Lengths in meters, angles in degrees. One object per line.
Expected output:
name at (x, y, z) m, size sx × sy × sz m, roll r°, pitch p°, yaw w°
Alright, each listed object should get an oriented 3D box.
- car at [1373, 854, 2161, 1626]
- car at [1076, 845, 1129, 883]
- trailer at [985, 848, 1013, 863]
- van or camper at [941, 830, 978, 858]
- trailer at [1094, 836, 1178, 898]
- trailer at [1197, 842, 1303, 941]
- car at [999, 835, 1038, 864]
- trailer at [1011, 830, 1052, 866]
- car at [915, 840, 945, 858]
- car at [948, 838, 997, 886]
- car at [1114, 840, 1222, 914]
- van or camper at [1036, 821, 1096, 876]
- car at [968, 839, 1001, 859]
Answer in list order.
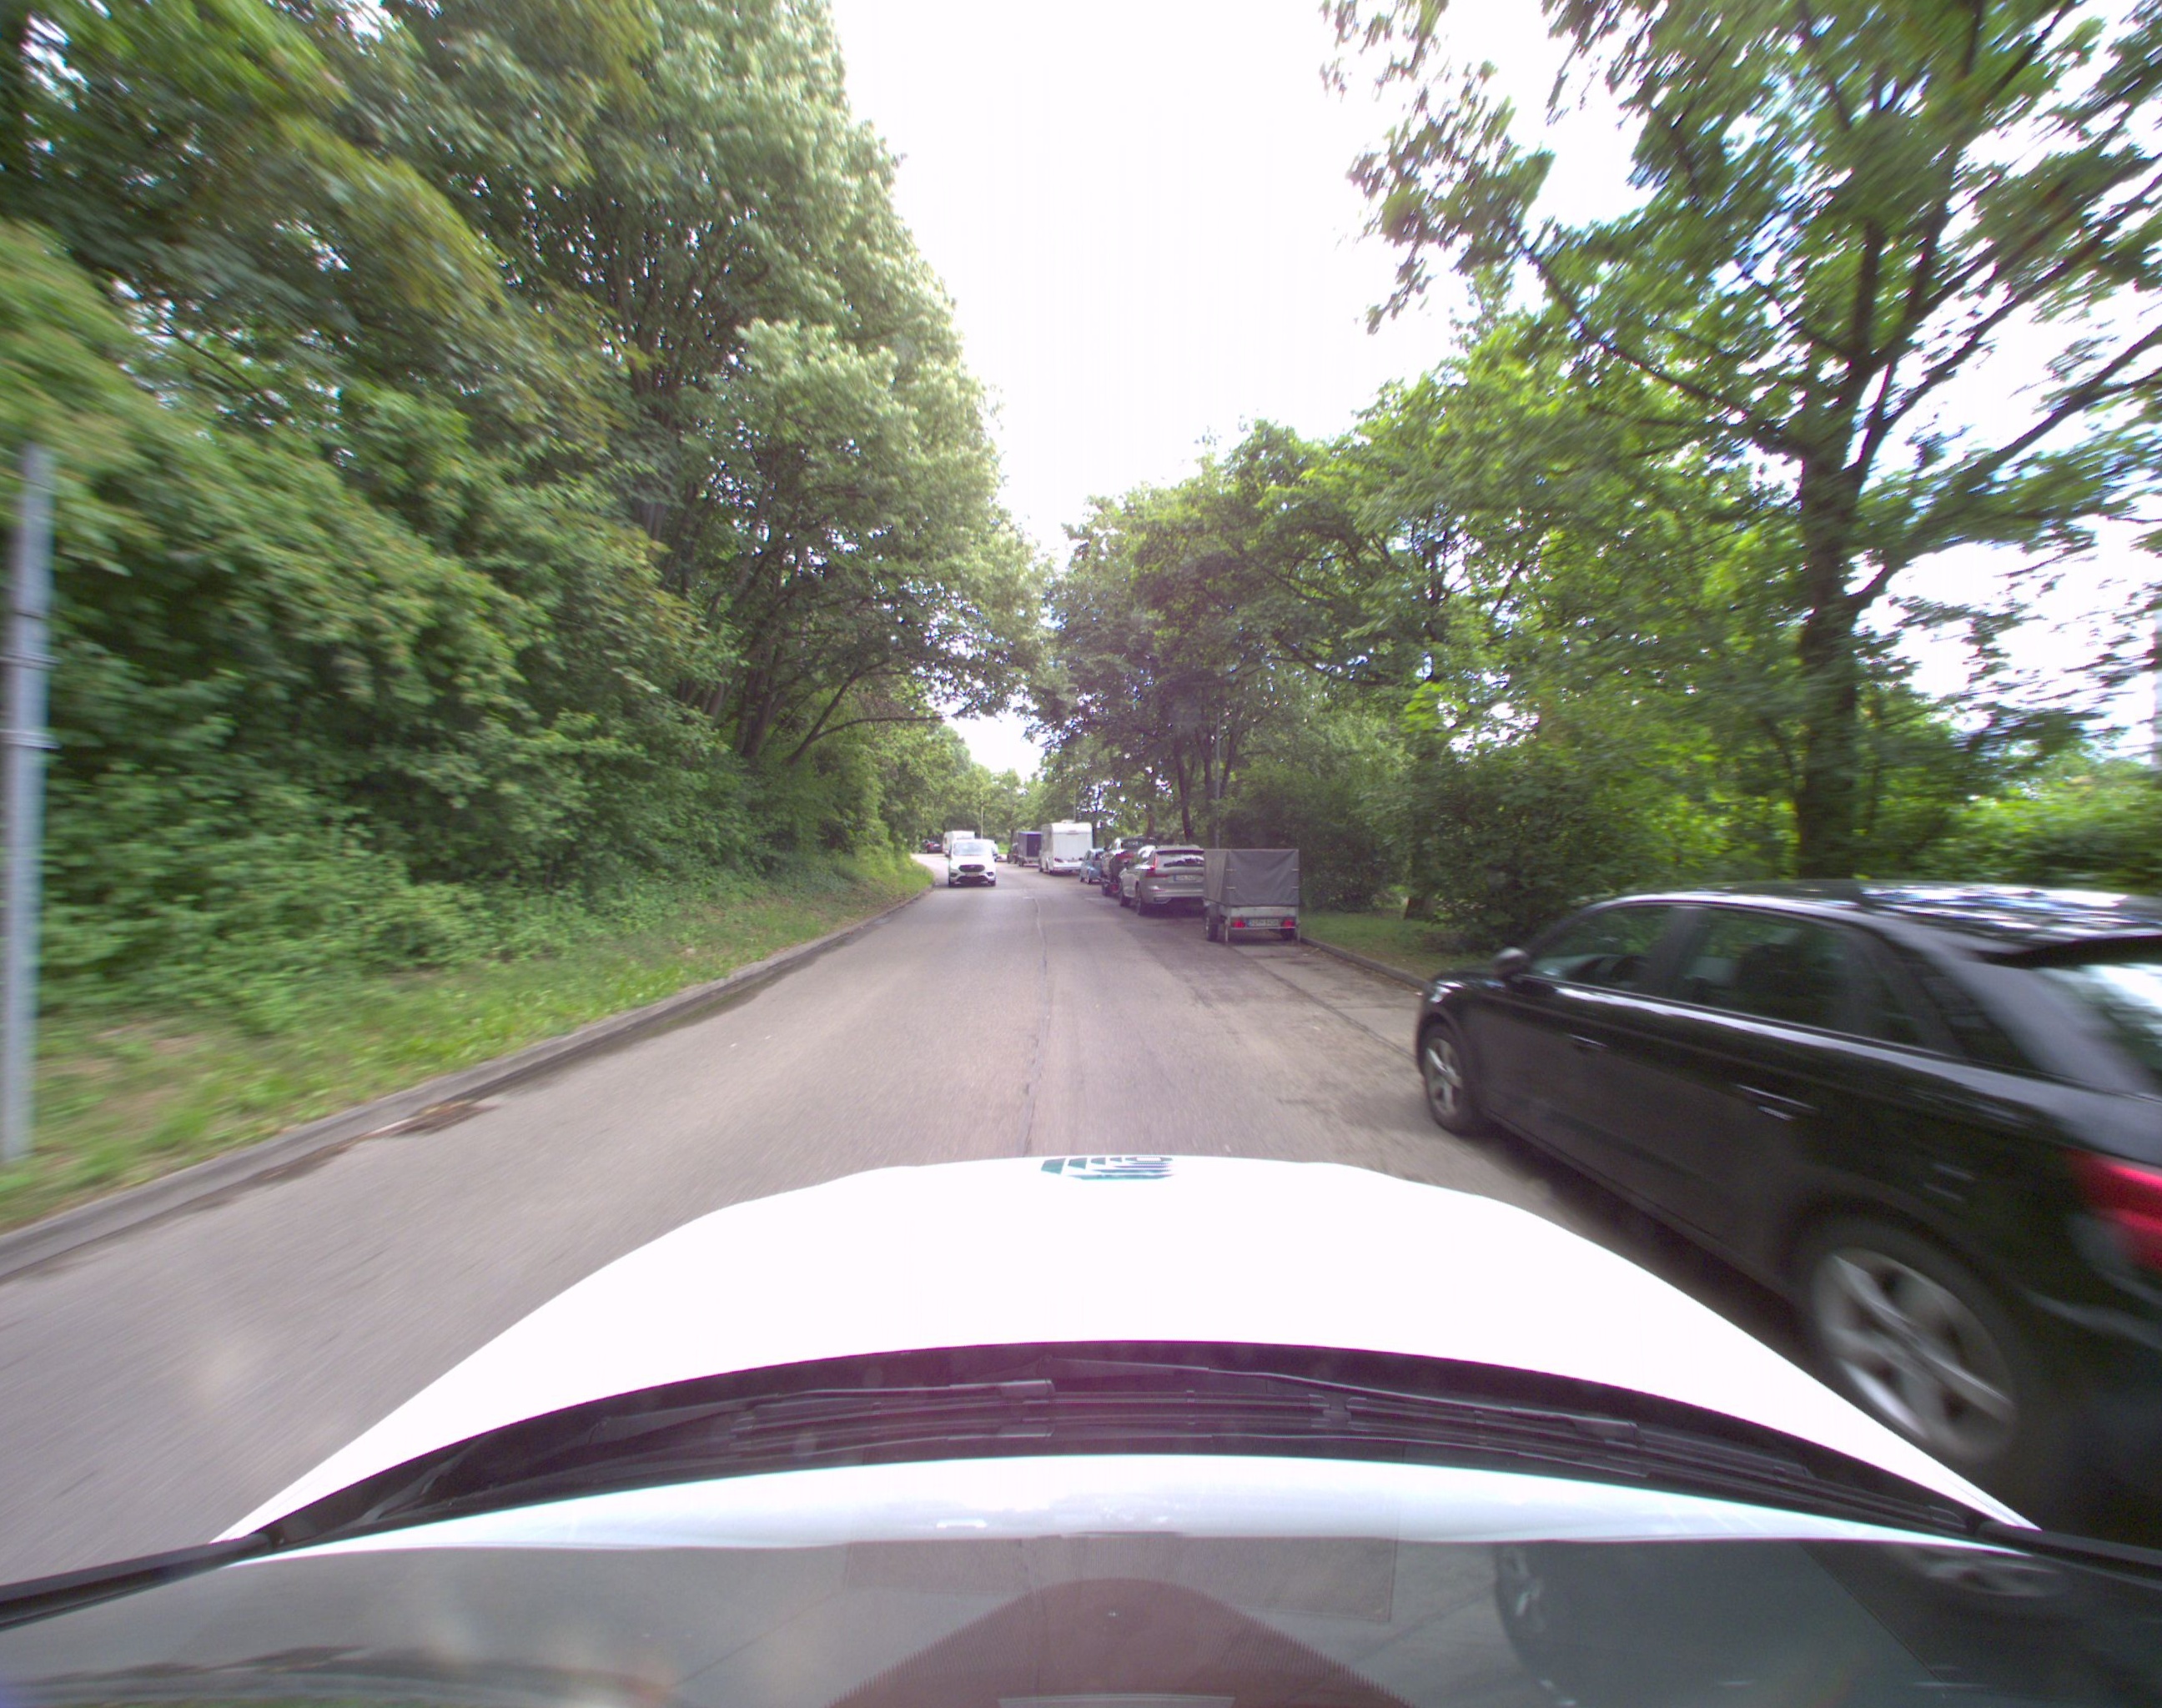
car at (2.831, 0.734, 3.397) m, size 1.716 × 1.453 × 3.914 m, roll 0°, pitch 0°, yaw -2°
car at (0.900, 0.406, 36.086) m, size 1.798 × 1.562 × 3.826 m, roll -1°, pitch 1°, yaw -7°
trailer at (-6.691, 0.123, 65.932) m, size 1.655 × 1.086 × 3.980 m, roll -2°, pitch 1°, yaw -15°
van or camper at (-12.383, -1.051, 82.896) m, size 2.539 × 2.697 × 4.538 m, roll -2°, pitch 1°, yaw -25°
trailer at (1.684, 0.342, 26.757) m, size 1.976 × 1.811 × 5.140 m, roll 0°, pitch 1°, yaw -5°
trailer at (2.882, 0.603, 14.271) m, size 1.275 × 1.585 × 2.458 m, roll 0°, pitch 0°, yaw -2°
car at (-4.810, -0.379, 62.230) m, size 1.999 × 2.025 × 3.976 m, roll -3°, pitch 3°, yaw -18°
trailer at (-3.526, -0.438, 56.894) m, size 1.998 × 2.398 × 3.977 m, roll 0°, pitch 0°, yaw -17°
car at (-17.056, -0.561, 91.974) m, size 2.006 × 1.869 × 3.962 m, roll -3°, pitch 3°, yaw -30°
car at (-4.658, 0.310, 35.562) m, size 1.944 × 1.984 × 4.493 m, roll 0°, pitch 0°, yaw -5°
car at (2.052, 0.554, 20.612) m, size 1.790 × 1.670 × 4.491 m, roll 0°, pitch -1°, yaw -6°
van or camper at (-0.962, -0.306, 46.379) m, size 2.482 × 2.876 × 6.867 m, roll 0°, pitch 0°, yaw -9°
car at (-8.902, -0.483, 74.947) m, size 2.043 × 1.803 × 4.052 m, roll -1°, pitch 1°, yaw -23°
